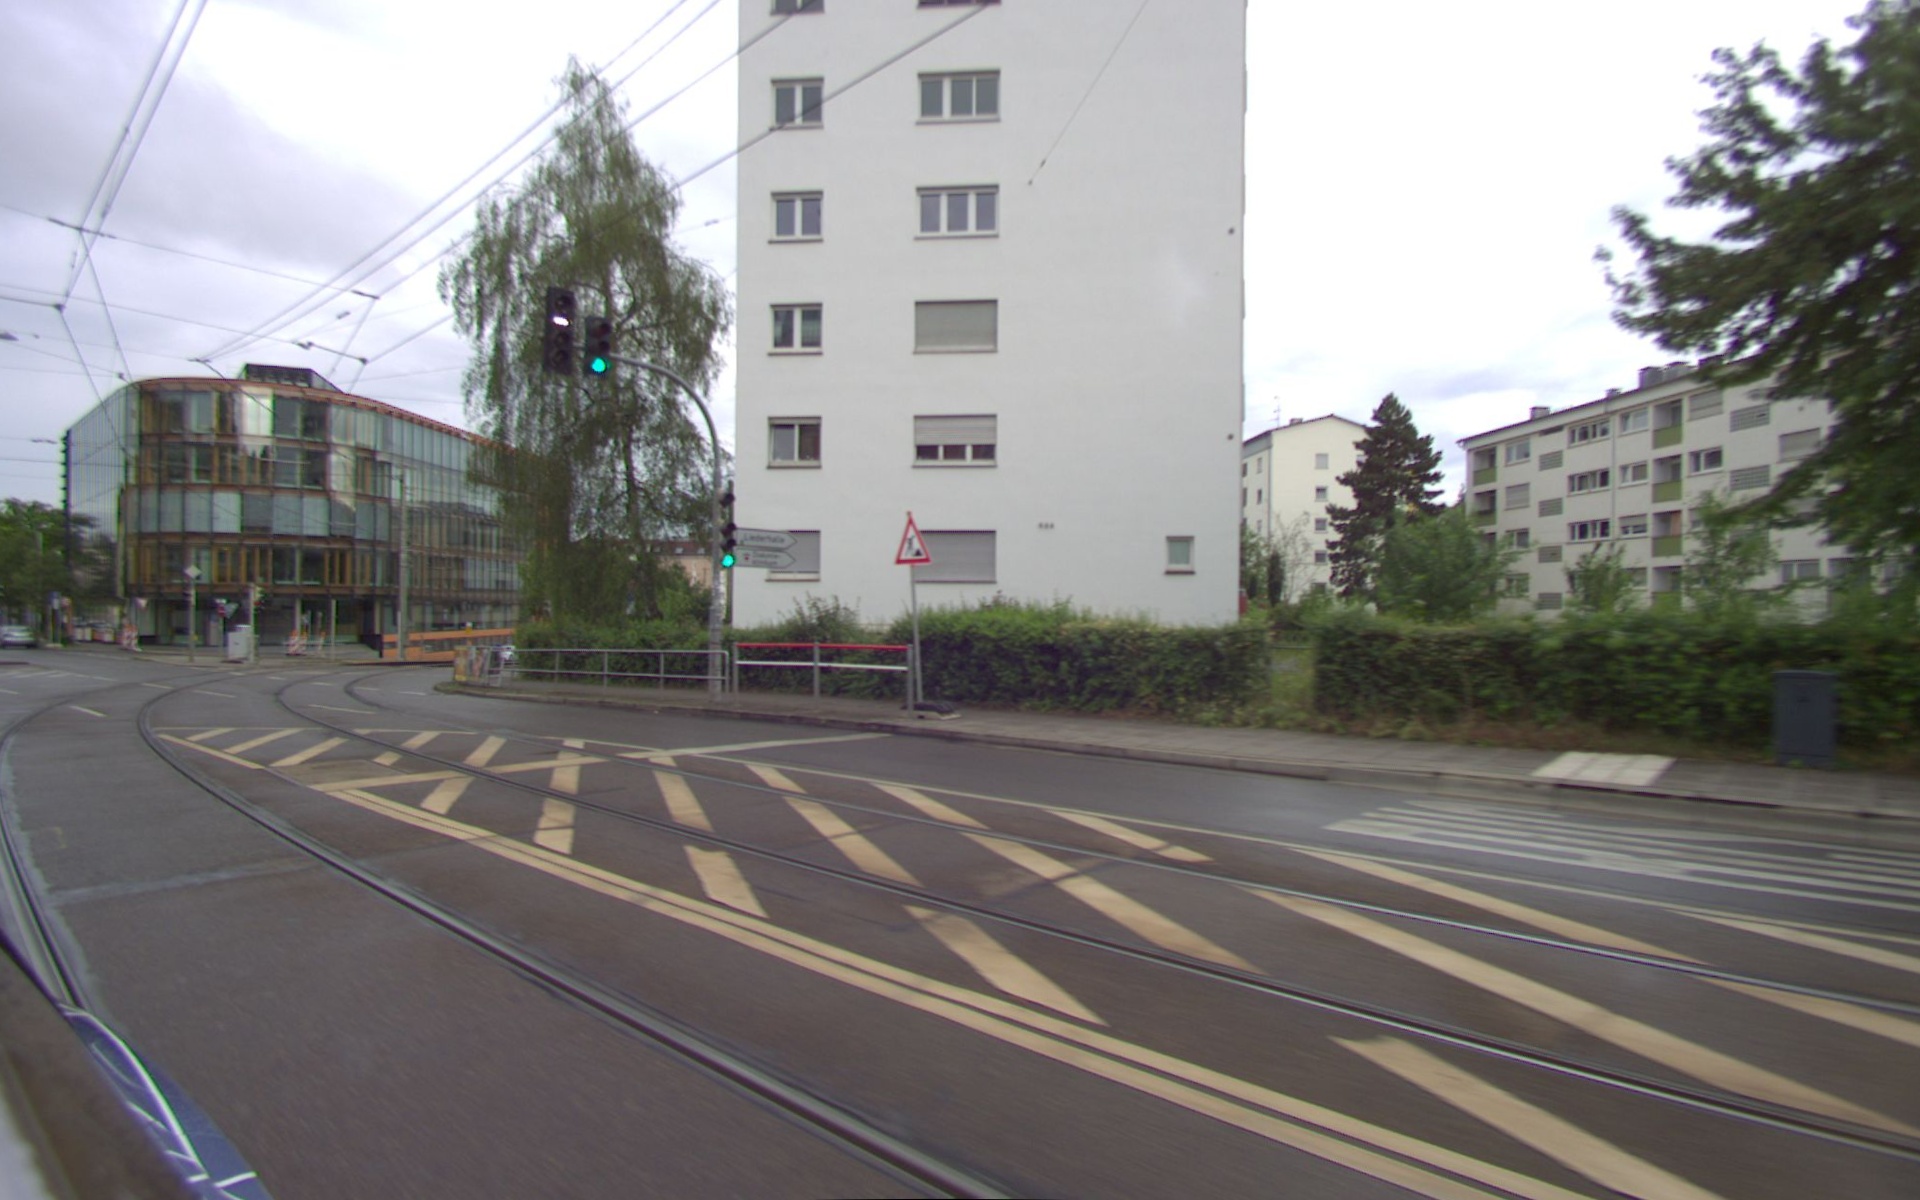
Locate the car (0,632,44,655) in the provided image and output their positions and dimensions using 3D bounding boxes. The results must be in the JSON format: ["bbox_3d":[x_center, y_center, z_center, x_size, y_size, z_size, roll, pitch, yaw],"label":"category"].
[{"bbox_3d":[-60.174,2.753,64.699,4.643,1.405,1.838,-2,-3,41],"label":"car"}]

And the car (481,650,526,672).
[{"bbox_3d":[-37.514,4.989,83.191,1.891,1.507,3.999,0,0,1],"label":"car"}]

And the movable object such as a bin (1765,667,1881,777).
[{"bbox_3d":[7.927,1.101,9.329,0.759,0.888,0.680,0,0,37],"label":"movable object such as a bin"}]
